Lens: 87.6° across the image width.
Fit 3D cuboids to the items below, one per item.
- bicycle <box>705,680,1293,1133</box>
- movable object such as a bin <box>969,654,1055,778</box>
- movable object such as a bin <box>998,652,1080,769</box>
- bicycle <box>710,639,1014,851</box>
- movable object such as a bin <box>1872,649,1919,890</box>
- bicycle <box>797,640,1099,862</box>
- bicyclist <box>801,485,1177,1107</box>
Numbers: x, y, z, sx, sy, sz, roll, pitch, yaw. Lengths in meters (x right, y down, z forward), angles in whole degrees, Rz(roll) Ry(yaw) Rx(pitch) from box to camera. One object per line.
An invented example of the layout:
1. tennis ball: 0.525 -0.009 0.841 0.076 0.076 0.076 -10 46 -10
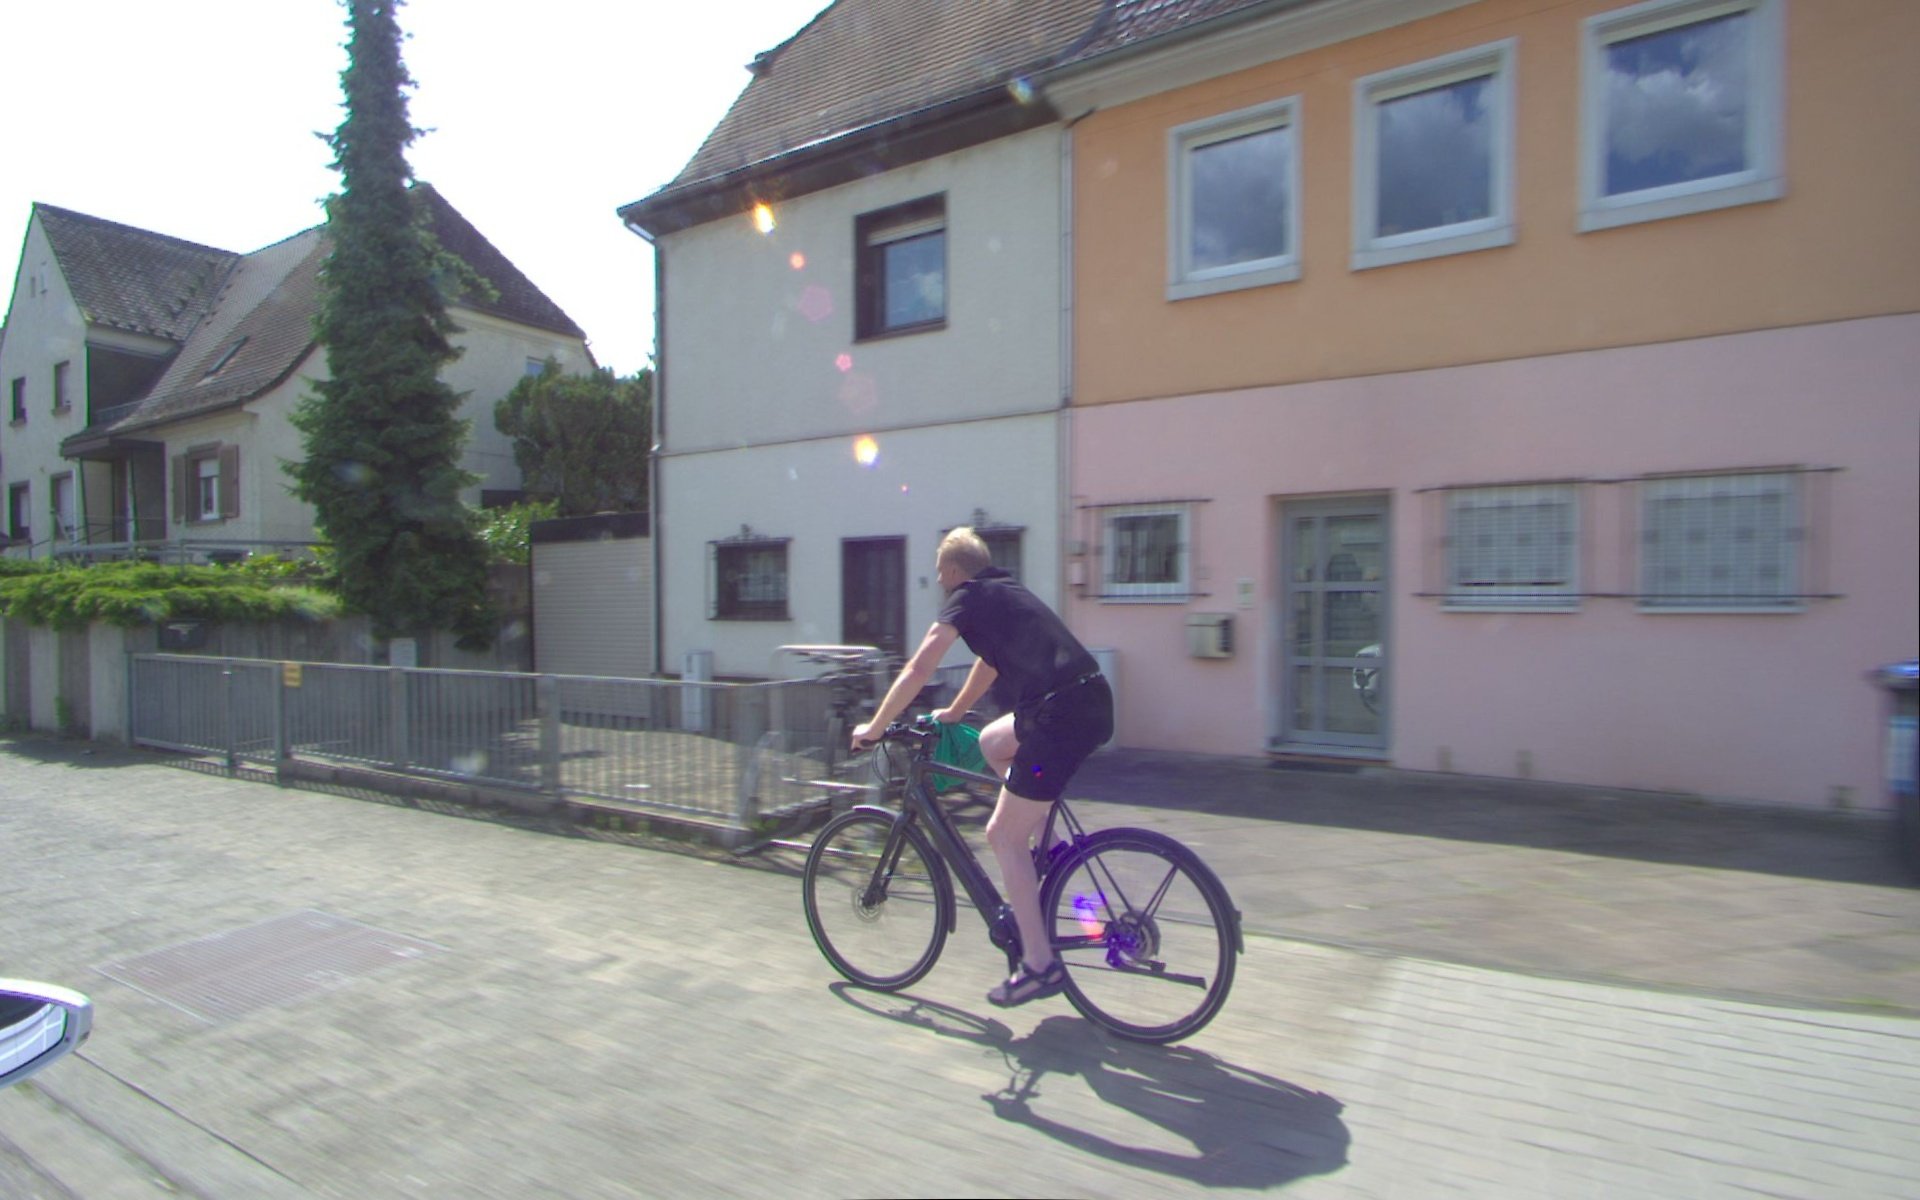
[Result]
1. bicycle: 0.098 0.902 3.573 1.942 1.090 0.827 0 1 31
2. movable object such as a bin: 0.429 0.936 8.270 0.550 0.959 0.467 -1 -1 32
3. movable object such as a bin: 0.689 0.937 8.685 0.550 0.959 0.467 -1 0 32
4. bicycle: -0.551 0.898 7.181 0.681 1.134 2.721 -1 0 31
5. movable object such as a bin: 4.920 0.796 4.709 0.843 1.119 0.510 -1 -1 33
6. bicycle: 0.058 0.878 6.829 0.775 1.120 2.657 -1 0 31
7. bicyclist: 0.123 0.574 3.544 1.067 1.818 0.827 0 1 30
